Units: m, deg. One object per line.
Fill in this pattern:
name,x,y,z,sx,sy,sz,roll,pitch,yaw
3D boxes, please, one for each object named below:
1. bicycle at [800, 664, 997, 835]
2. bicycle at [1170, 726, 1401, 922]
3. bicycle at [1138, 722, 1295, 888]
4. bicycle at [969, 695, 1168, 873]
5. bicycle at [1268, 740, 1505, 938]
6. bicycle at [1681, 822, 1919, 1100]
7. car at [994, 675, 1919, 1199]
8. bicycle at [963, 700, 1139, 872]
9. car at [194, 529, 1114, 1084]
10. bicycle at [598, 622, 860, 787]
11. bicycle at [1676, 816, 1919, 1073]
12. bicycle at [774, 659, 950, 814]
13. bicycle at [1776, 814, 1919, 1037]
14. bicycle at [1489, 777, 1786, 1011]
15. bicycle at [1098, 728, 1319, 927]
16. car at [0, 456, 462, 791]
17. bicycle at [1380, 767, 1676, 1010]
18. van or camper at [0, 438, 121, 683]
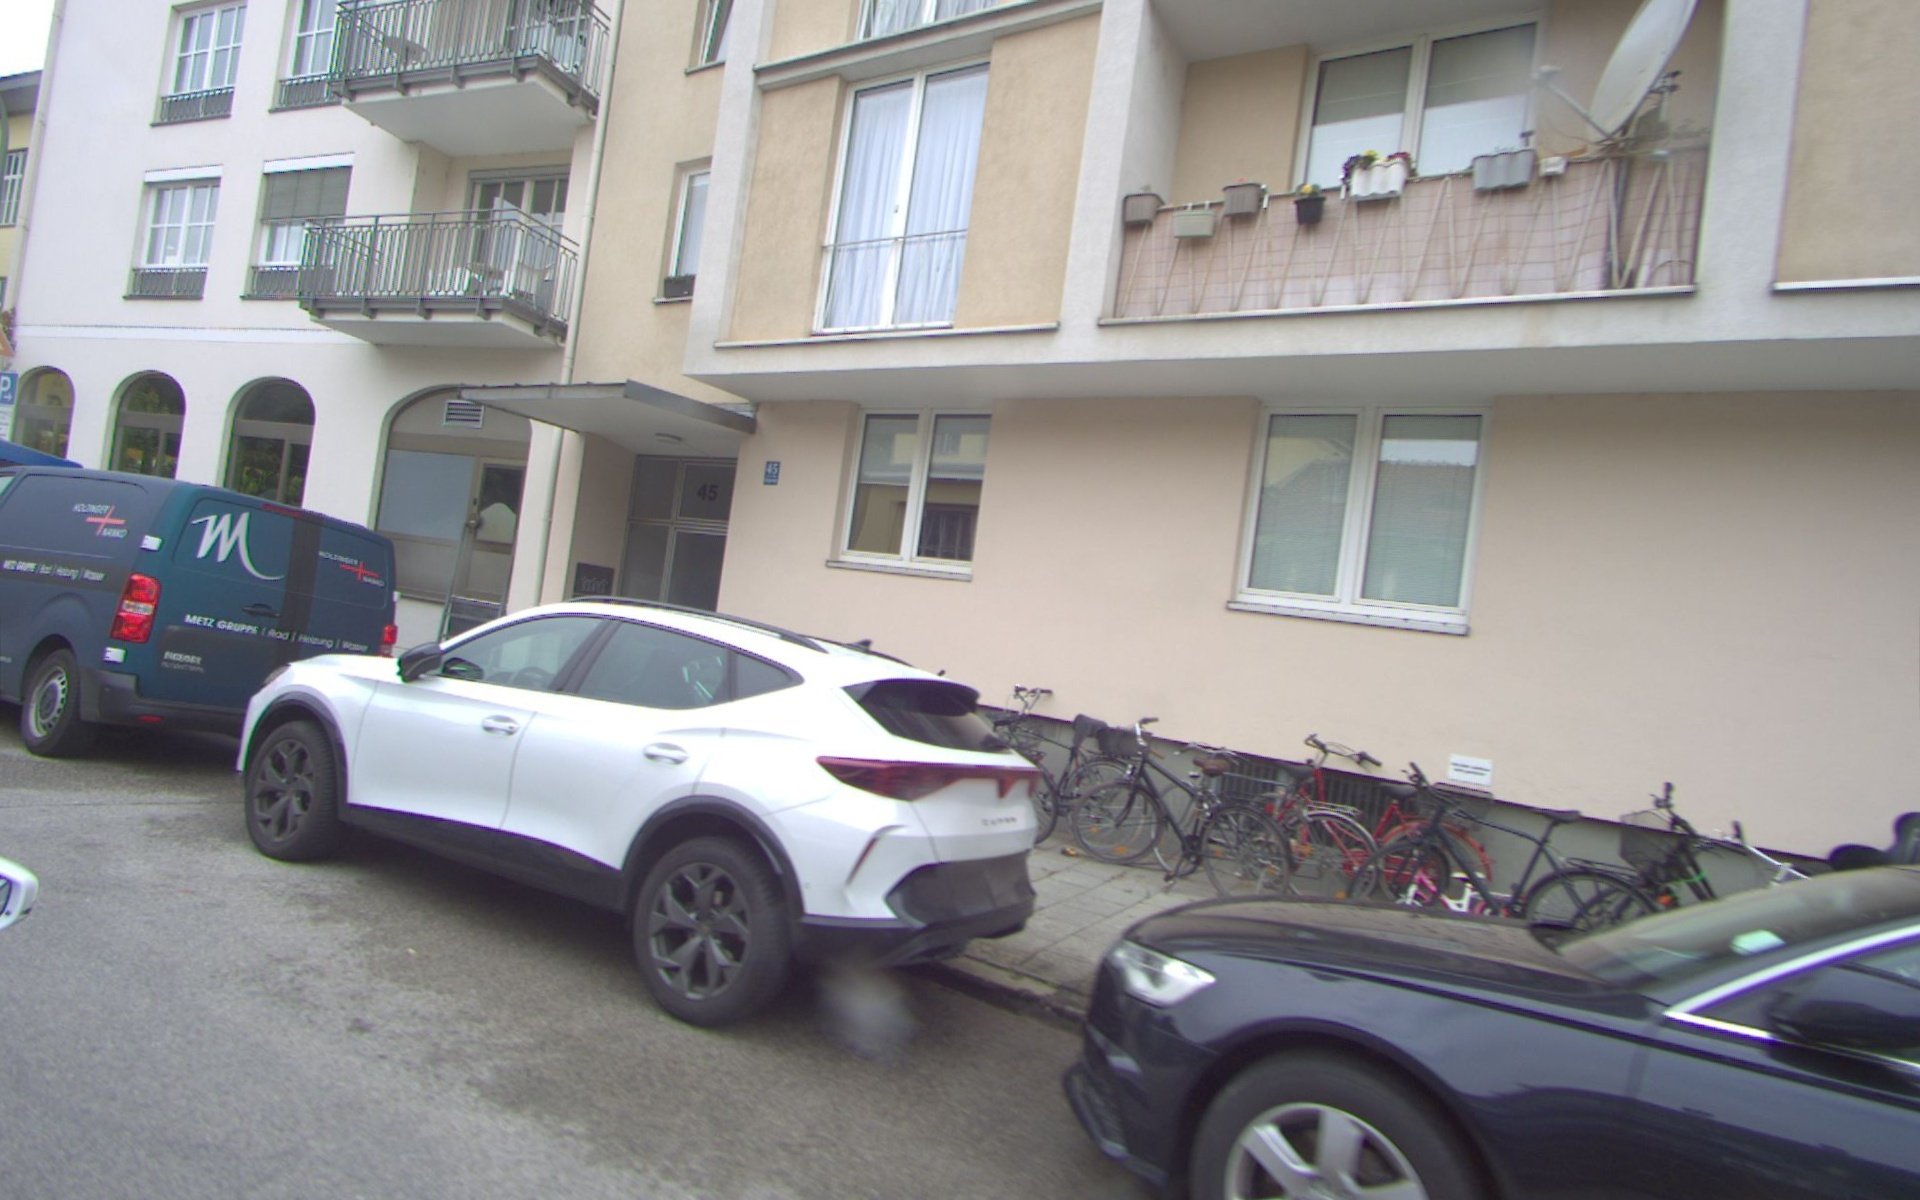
bicycle,-0.502,1.199,8.248,1.404,1.146,0.719,8,-1,-4
bicycle,2.243,1.507,7.007,1.378,1.036,0.390,7,0,32
bicycle,1.946,1.530,7.670,0.985,1.036,0.374,7,0,32
bicycle,0.876,1.449,8.198,1.384,1.147,0.534,7,0,28
bicycle,2.958,1.618,7.033,1.378,1.036,0.390,7,0,32
bicycle,4.403,1.756,4.844,1.378,1.036,0.483,7,0,32
car,2.489,1.259,2.388,4.422,1.516,1.742,6,-2,33
bicycle,0.665,1.360,7.585,1.180,1.036,0.423,7,0,39
car,-1.590,0.754,5.080,4.198,1.552,1.748,7,-6,26
bicycle,-2.255,0.981,9.798,2.170,1.200,1.149,7,-2,30
bicycle,4.677,1.810,5.272,1.378,1.036,0.390,7,0,32
bicycle,-0.865,1.204,9.000,1.384,1.147,0.534,8,0,-4
bicycle,5.350,1.824,5.395,1.378,1.036,0.390,7,0,32
bicycle,4.112,1.752,6.203,1.378,1.036,0.390,7,0,32
bicycle,1.669,1.494,6.827,1.280,1.036,0.423,7,0,32
car,-6.501,0.081,7.858,4.850,1.832,1.975,7,-8,28
bicycle,3.305,1.639,5.939,1.378,1.036,0.390,7,0,32
van or camper,-11.657,-0.712,10.572,5.342,2.252,2.071,7,-6,26
